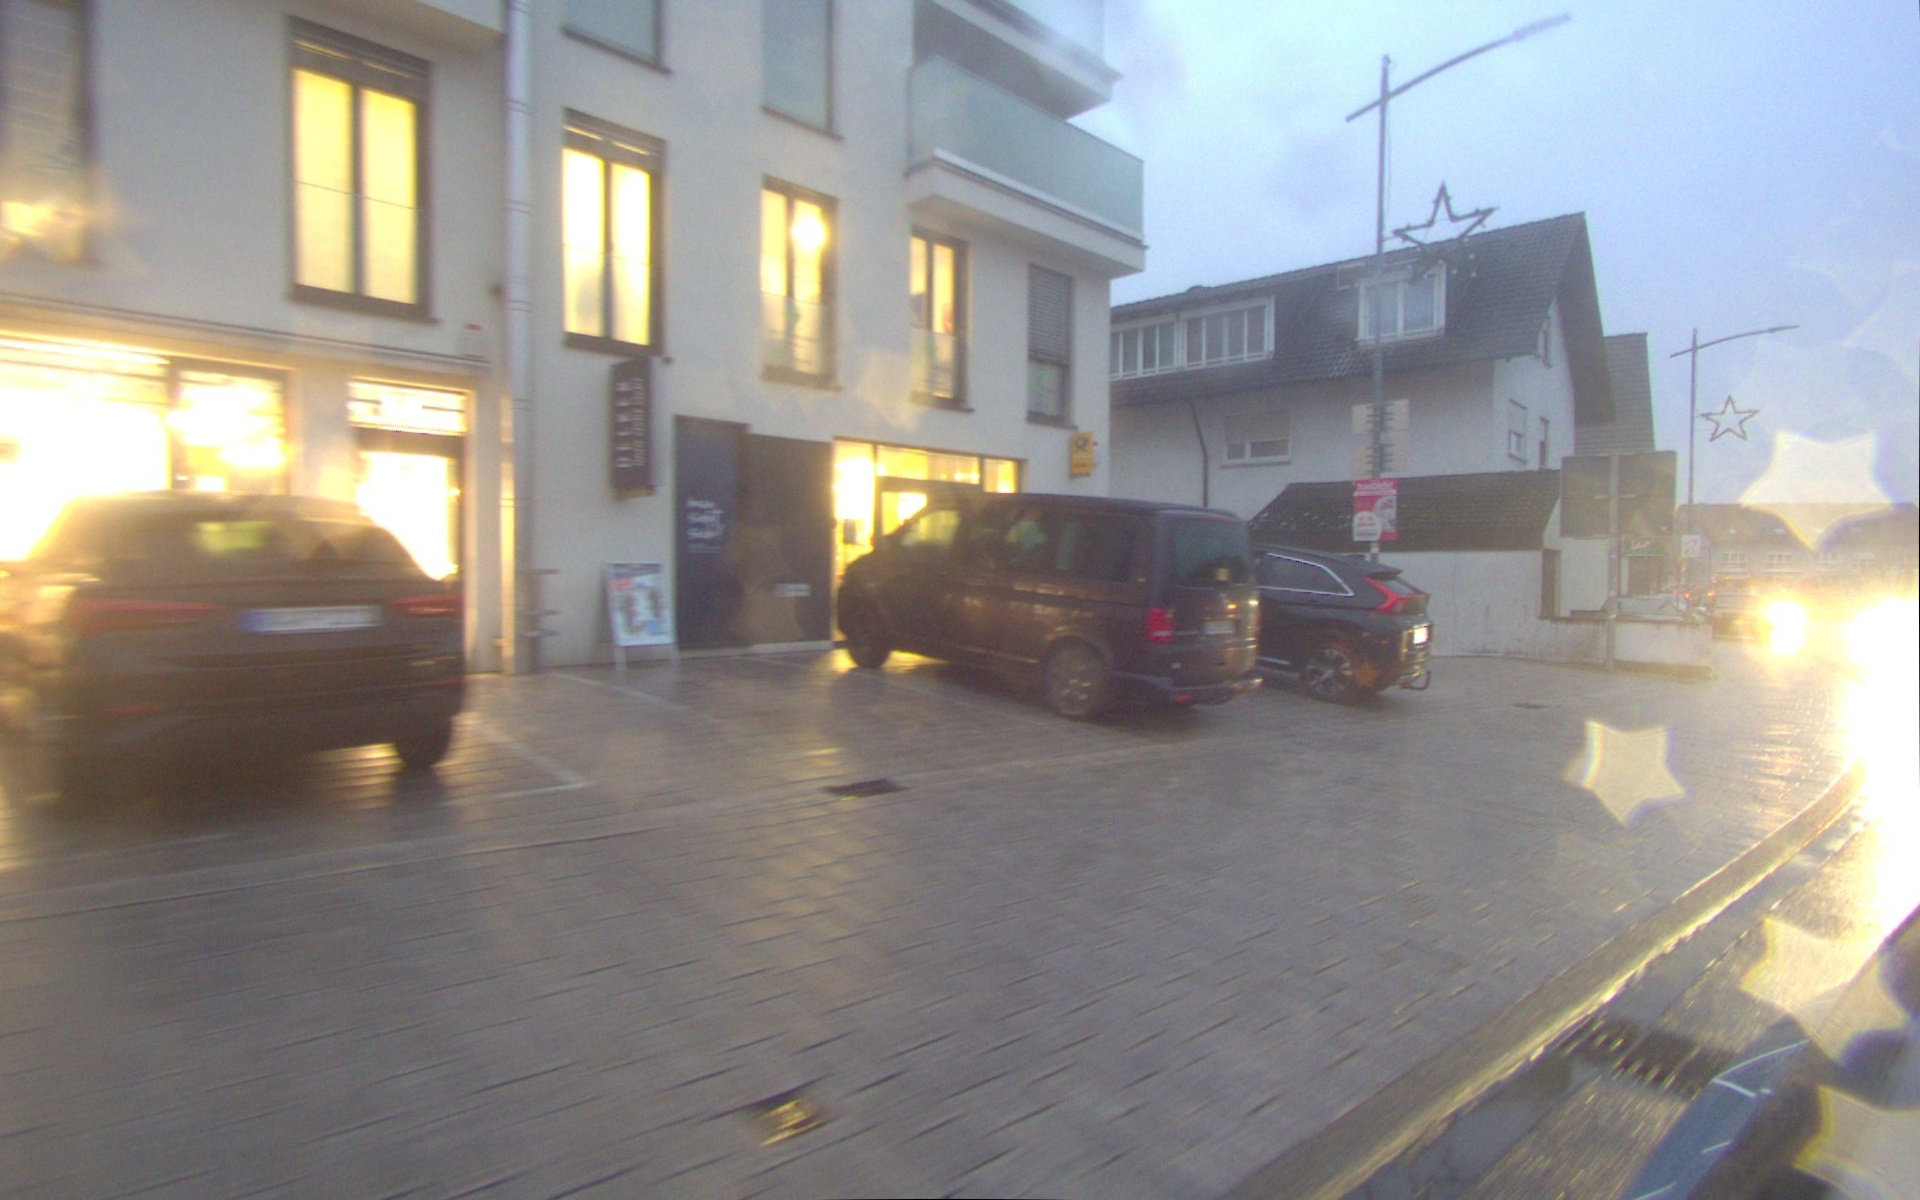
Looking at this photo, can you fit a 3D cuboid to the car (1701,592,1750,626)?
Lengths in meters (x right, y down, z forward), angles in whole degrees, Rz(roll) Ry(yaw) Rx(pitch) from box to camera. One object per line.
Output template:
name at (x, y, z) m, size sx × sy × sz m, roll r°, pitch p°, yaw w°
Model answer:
car at (31.347, 0.365, 41.484) m, size 1.489 × 1.307 × 3.249 m, roll 2°, pitch 1°, yaw 36°

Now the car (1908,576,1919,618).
car at (46.910, -0.126, 47.940) m, size 1.983 × 2.039 × 3.959 m, roll 0°, pitch 1°, yaw 29°

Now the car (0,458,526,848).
car at (-4.588, 0.040, 6.158) m, size 4.508 × 1.510 × 1.945 m, roll 5°, pitch 5°, yaw 43°

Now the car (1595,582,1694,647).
car at (18.186, 0.363, 26.825) m, size 1.770 × 1.515 × 3.724 m, roll 4°, pitch 2°, yaw 39°

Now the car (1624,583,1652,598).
car at (68.865, -0.930, 102.882) m, size 1.736 × 1.435 × 3.722 m, roll 3°, pitch 1°, yaw 25°

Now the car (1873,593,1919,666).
car at (22.100, 0.635, 23.268) m, size 1.566 × 1.487 × 3.563 m, roll 0°, pitch 2°, yaw 41°

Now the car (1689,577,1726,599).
car at (56.916, -0.924, 77.102) m, size 1.656 × 1.541 × 3.960 m, roll 3°, pitch 1°, yaw 28°

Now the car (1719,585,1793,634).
car at (28.183, 0.308, 35.922) m, size 1.837 × 1.606 × 3.721 m, roll 2°, pitch 1°, yaw 35°

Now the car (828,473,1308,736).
car at (0.861, -0.148, 10.289) m, size 1.942 × 1.956 × 4.547 m, roll 1°, pitch 6°, yaw -44°

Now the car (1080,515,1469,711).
car at (3.773, 0.033, 12.572) m, size 4.137 × 1.653 × 1.730 m, roll 11°, pitch 7°, yaw 39°

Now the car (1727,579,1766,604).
car at (65.805, -0.760, 84.698) m, size 1.983 × 2.039 × 3.959 m, roll 0°, pitch 1°, yaw 29°

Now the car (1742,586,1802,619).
car at (37.659, 0.119, 46.990) m, size 1.729 × 1.461 × 3.953 m, roll 0°, pitch 0°, yaw 33°
